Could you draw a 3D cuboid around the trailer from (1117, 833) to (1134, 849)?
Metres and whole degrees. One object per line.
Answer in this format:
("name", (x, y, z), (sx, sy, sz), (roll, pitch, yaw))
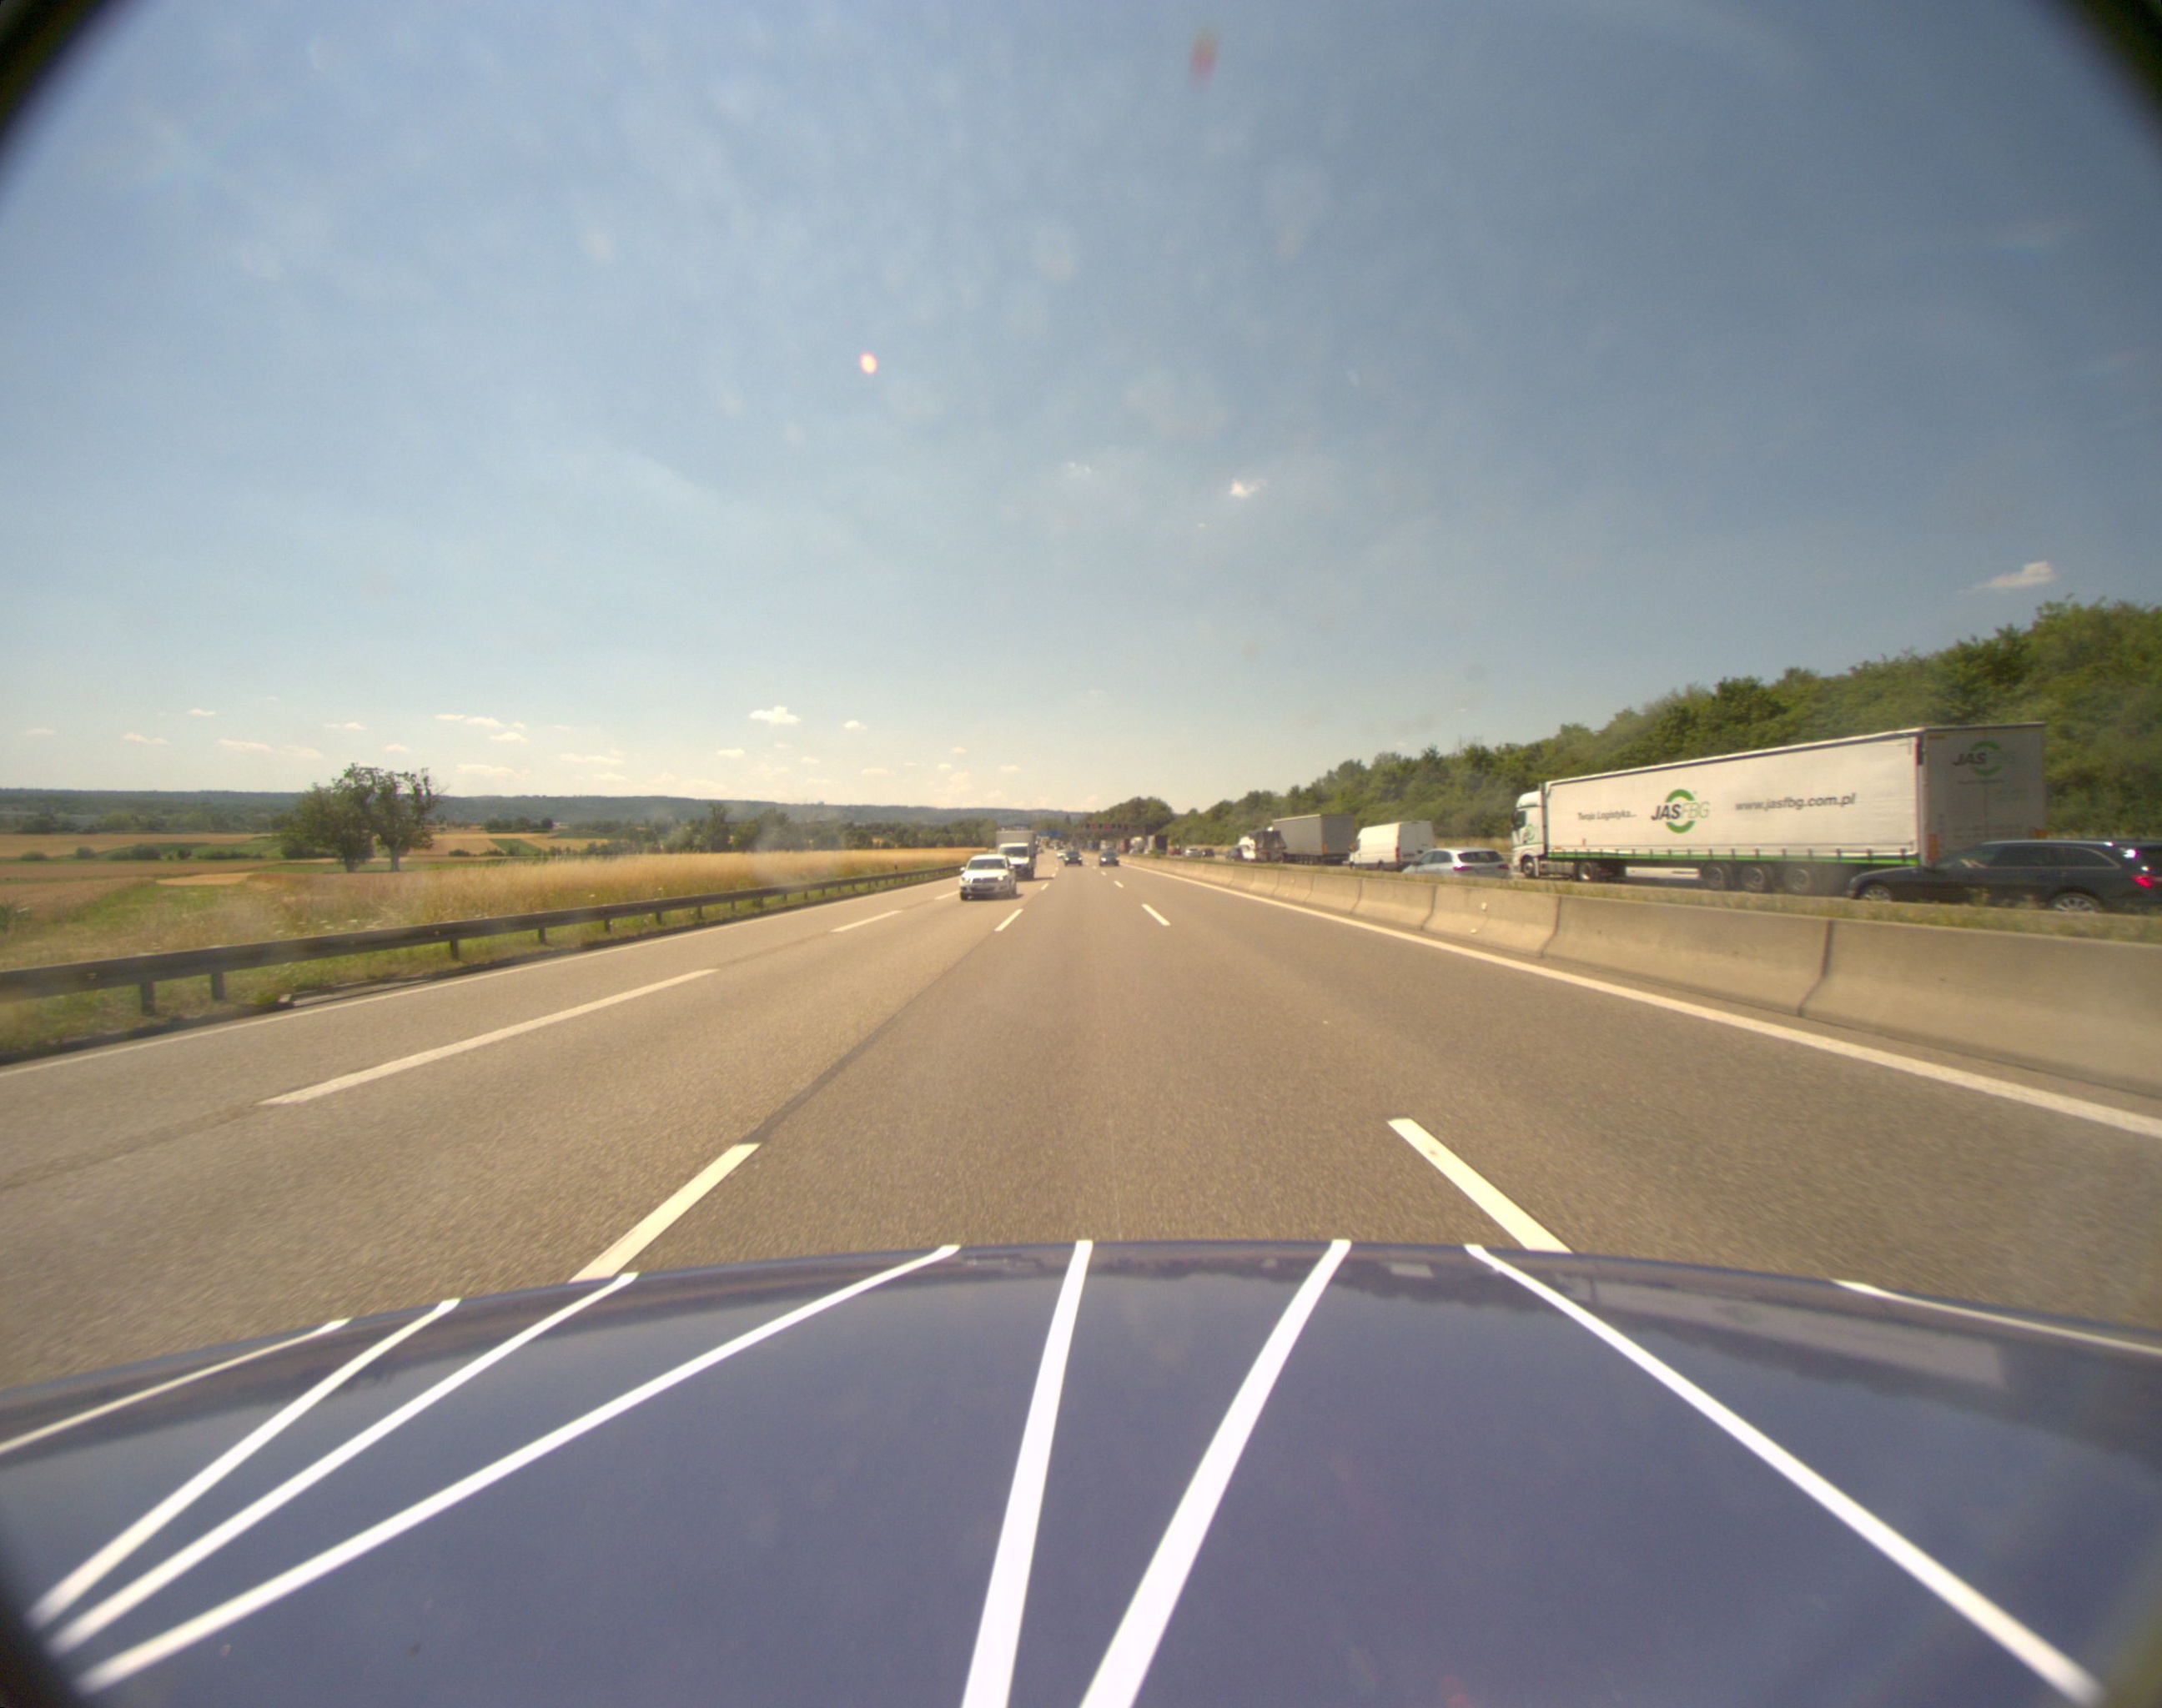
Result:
("trailer", (11.859, -3.608, 203.926), (2.947, 4.087, 14.077), (-1, 1, -3))

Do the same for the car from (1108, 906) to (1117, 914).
("car", (7.502, 13.321, 181.921), (1.848, 1.461, 4.830), (-2, 1, -3))

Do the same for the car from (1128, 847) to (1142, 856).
("car", (9.912, -0.517, 140.795), (1.999, 1.512, 5.149), (-1, 1, -3))

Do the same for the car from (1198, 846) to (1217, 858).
("car", (17.871, -0.304, 107.561), (1.998, 1.512, 4.307), (-1, 1, 2))

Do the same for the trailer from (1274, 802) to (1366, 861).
("trailer", (19.801, -1.772, 64.307), (3.230, 4.396, 13.776), (-1, 1, -1))

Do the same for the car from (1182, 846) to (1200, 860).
("car", (13.693, -0.174, 94.549), (1.846, 1.667, 4.442), (-1, 1, 3))

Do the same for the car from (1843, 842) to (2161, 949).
("car", (15.823, 0.552, 12.376), (1.881, 1.425, 4.924), (-2, 0, 0))

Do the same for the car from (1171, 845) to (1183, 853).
("car", (17.112, -0.906, 136.053), (1.751, 1.396, 4.211), (-1, 1, 2))

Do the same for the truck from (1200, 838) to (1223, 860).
("truck", (25.164, -0.949, 147.097), (3.097, 4.006, 6.092), (-2, 1, -2))

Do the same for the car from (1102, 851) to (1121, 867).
("car", (2.990, 0.509, 75.350), (1.807, 1.534, 4.751), (-1, -1, 1))

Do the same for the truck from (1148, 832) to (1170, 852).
("truck", (15.668, -2.481, 153.888), (3.017, 3.894, 10.351), (-1, 1, -2))

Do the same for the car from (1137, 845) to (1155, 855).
("car", (9.859, -0.647, 115.472), (1.999, 1.436, 4.791), (-2, 1, -3))

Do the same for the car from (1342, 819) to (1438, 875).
("car", (15.709, -0.351, 39.206), (1.902, 2.559, 7.571), (-2, 1, 0))

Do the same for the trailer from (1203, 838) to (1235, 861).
("trailer", (25.257, -0.824, 139.974), (3.088, 3.948, 14.490), (-2, 0, -1))

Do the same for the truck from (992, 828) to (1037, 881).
("truck", (-4.058, -0.019, 47.548), (2.446, 3.011, 6.913), (-2, 1, -3))

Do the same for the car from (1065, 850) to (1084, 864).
("car", (-0.703, 0.289, 81.573), (1.866, 1.426, 3.998), (-1, 1, -2))

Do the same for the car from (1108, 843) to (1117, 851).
("car", (8.627, -1.920, 208.604), (1.962, 2.018, 4.543), (-1, 1, -4))

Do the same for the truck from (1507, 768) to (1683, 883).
("truck", (19.877, -1.048, 29.879), (2.855, 3.984, 5.974), (-2, 1, 1))

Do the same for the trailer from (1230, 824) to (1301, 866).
("trailer", (15.398, -0.843, 64.484), (2.877, 3.165, 10.724), (-2, 1, -2))

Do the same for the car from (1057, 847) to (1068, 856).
("car", (-3.486, -0.490, 141.557), (1.999, 1.467, 3.998), (-2, 1, -2))

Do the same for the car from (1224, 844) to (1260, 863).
("car", (15.237, -0.078, 72.210), (2.112, 1.713, 4.929), (-1, 1, -3))

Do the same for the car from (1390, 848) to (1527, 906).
("car", (11.630, 0.630, 23.806), (1.998, 1.569, 4.594), (-2, 1, 0))

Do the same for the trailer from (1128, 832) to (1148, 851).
("trailer", (13.198, -3.039, 177.449), (2.945, 4.141, 14.164), (-2, 1, -3))

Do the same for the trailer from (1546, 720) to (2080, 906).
("trailer", (19.720, -0.923, 22.997), (2.910, 3.851, 13.875), (-2, 1, 1))

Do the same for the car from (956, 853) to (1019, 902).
("car", (-3.473, 0.818, 28.930), (1.837, 1.636, 4.172), (-2, 1, 0))

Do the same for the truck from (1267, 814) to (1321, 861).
("truck", (19.690, -1.525, 70.603), (3.207, 4.109, 6.182), (-1, 1, -1))

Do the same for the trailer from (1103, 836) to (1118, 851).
("trailer", (9.402, -3.355, 245.049), (3.364, 4.548, 13.640), (-2, 1, -4))
